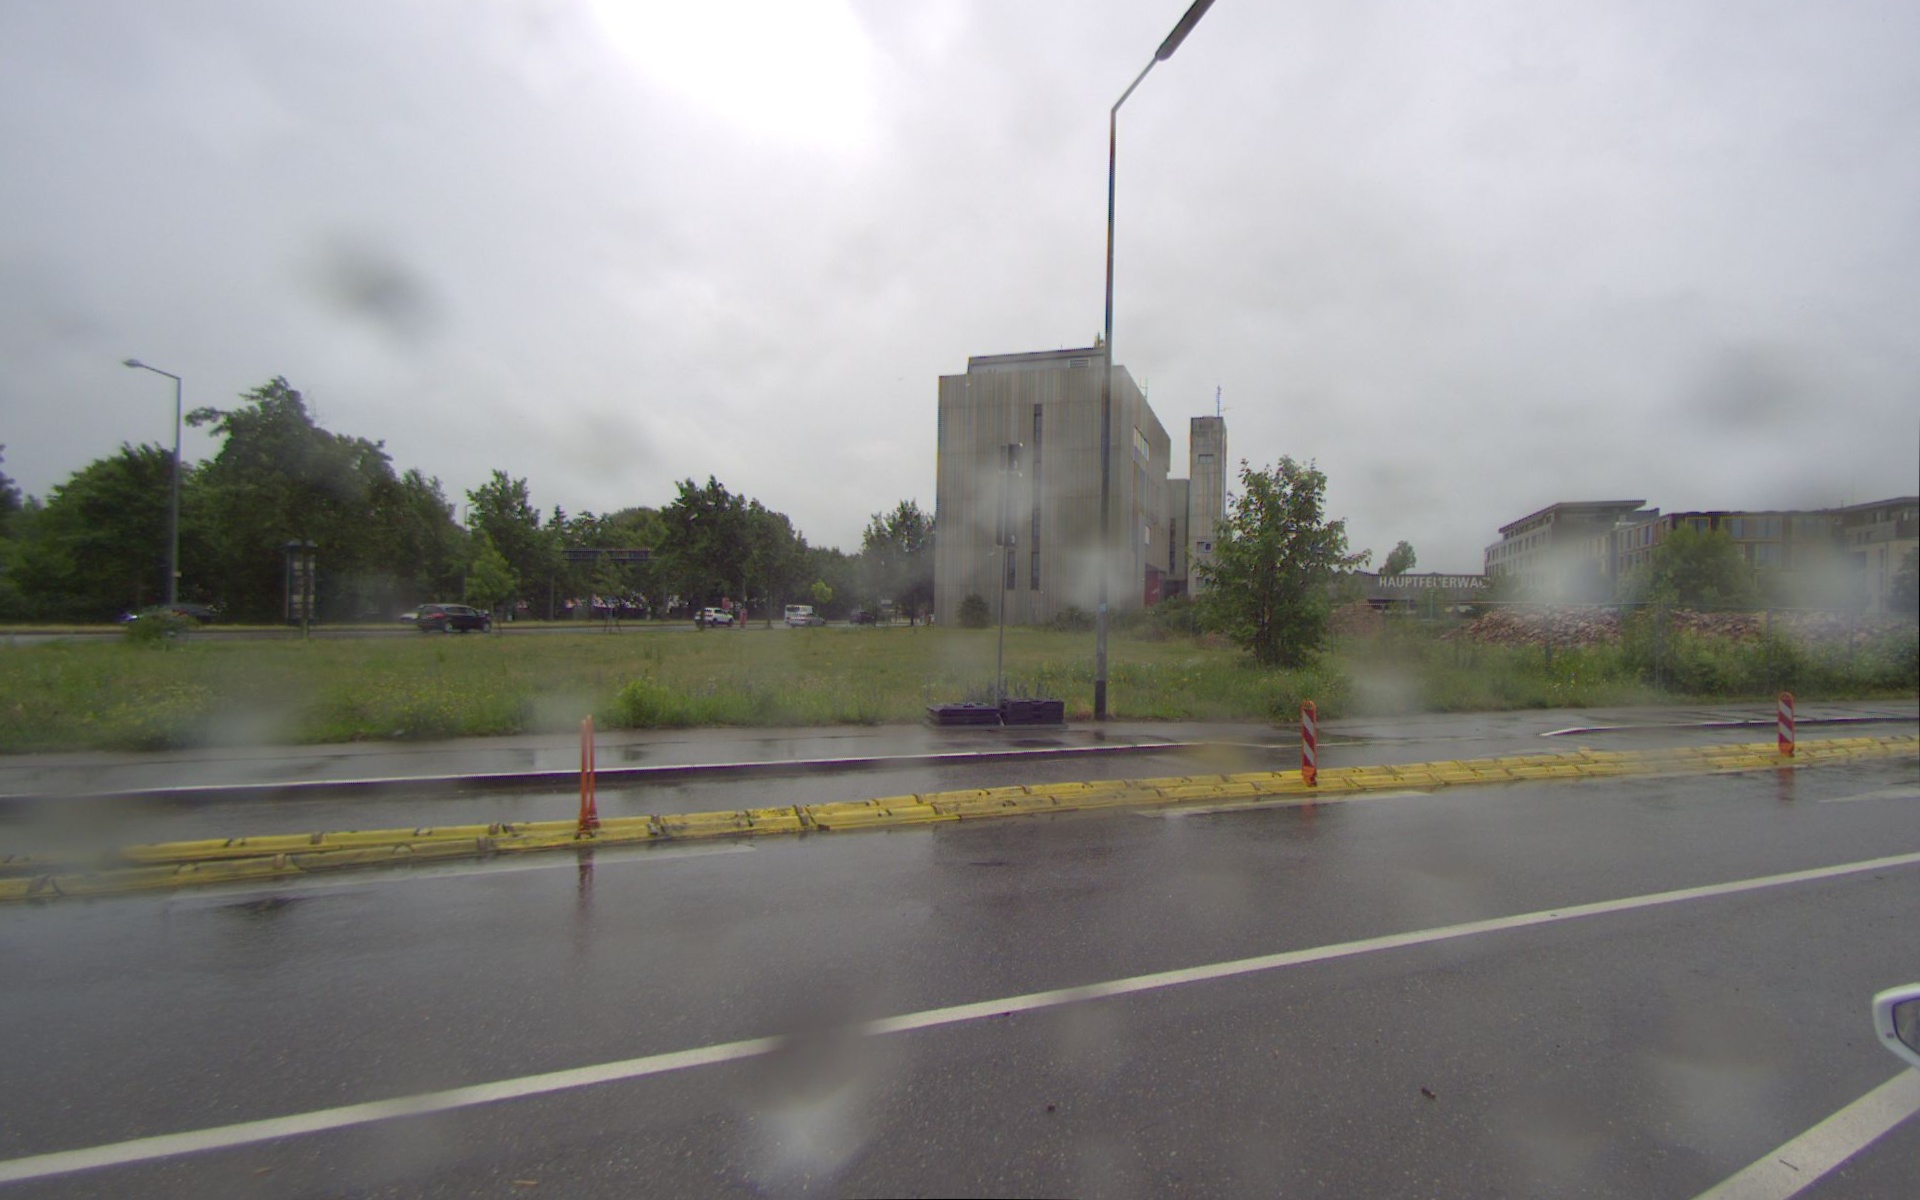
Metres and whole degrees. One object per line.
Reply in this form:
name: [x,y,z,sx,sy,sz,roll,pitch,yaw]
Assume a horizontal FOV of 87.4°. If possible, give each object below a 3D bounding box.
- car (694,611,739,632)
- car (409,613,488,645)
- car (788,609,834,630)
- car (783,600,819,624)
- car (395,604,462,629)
car: [-20.999,1.875,86.762,1.653,1.669,3.947,3,-2,22]
car: [-30.140,1.732,59.302,1.754,1.669,4.001,3,-2,20]
car: [-13.573,1.787,91.766,1.756,1.834,4.833,1,-1,26]
car: [-15.709,1.206,99.349,1.754,2.062,4.001,3,-2,19]
car: [-39.461,1.248,74.714,1.753,1.669,4.344,3,-2,18]
